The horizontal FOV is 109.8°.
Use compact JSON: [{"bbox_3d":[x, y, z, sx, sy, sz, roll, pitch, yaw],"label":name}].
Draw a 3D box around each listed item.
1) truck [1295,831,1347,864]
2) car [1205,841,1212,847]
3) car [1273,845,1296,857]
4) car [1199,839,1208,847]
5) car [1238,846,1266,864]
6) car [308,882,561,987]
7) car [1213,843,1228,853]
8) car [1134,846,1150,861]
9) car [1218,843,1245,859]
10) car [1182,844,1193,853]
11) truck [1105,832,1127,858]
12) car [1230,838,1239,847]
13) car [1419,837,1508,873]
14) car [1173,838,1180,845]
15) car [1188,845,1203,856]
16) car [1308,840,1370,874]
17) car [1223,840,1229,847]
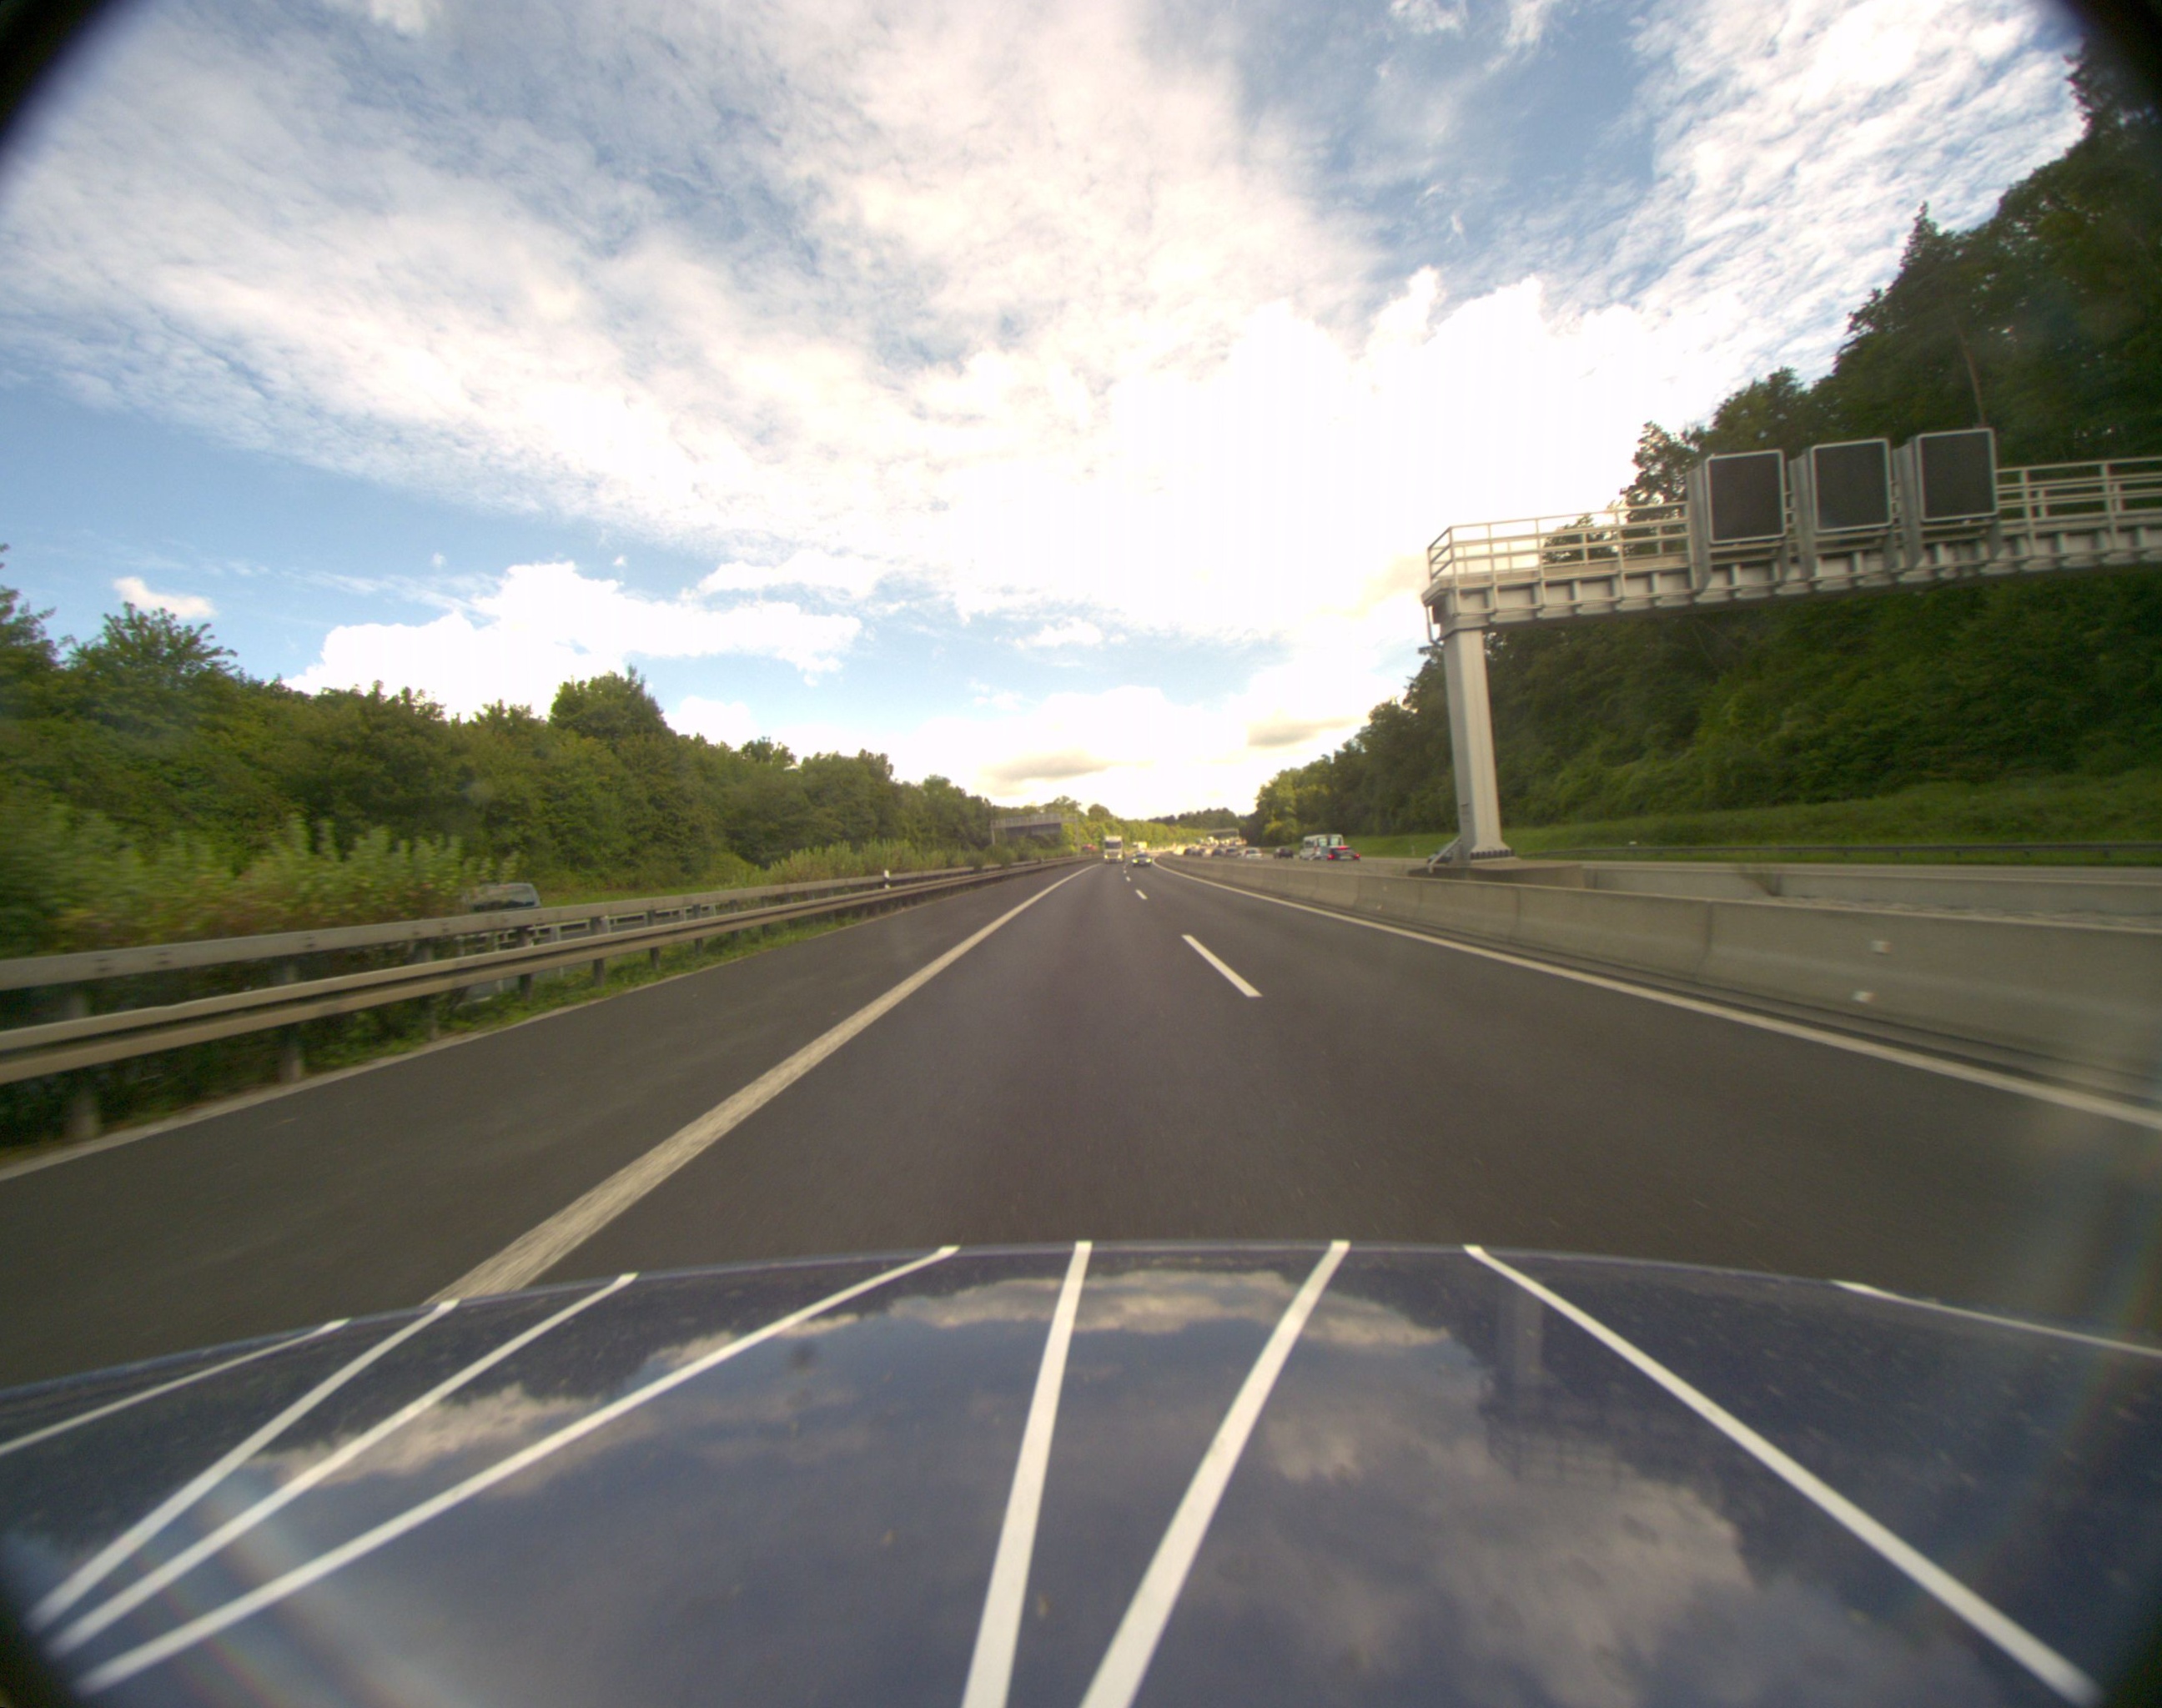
[{"bbox_3d":[17.545,-0.490,55.791,2.189,2.213,5.571,-2,0,3],"label":"truck"},{"bbox_3d":[44.128,-3.446,263.172,2.205,2.118,8.080,-2,1,9],"label":"car"},{"bbox_3d":[24.666,-0.386,92.127,1.827,1.304,4.187,-2,0,2],"label":"car"},{"bbox_3d":[32.557,-2.937,201.625,1.997,2.002,4.779,-2,1,6],"label":"car"},{"bbox_3d":[14.048,0.070,62.727,1.569,1.441,3.889,-2,0,3],"label":"car"},{"bbox_3d":[-15.922,1.868,19.200,1.998,2.002,4.909,-3,1,1],"label":"car"},{"bbox_3d":[24.598,-1.081,134.047,1.998,1.530,4.740,-2,1,5],"label":"car"},{"bbox_3d":[6.532,-0.025,81.100,1.662,1.464,4.001,-2,1,6],"label":"car"},{"bbox_3d":[15.961,-0.352,80.996,1.998,1.527,5.285,-2,0,3],"label":"car"},{"bbox_3d":[20.577,-1.033,146.682,1.880,1.688,4.315,-2,1,5],"label":"car"},{"bbox_3d":[5.379,-1.454,115.293,2.795,3.562,11.459,-2,1,5],"label":"truck"},{"bbox_3d":[40.079,-3.015,198.373,2.029,2.022,4.783,-2,1,7],"label":"car"},{"bbox_3d":[16.639,0.037,33.295,1.670,1.387,4.601,-2,0,2],"label":"car"},{"bbox_3d":[30.512,-4.009,241.770,1.997,2.022,4.002,-2,1,9],"label":"car"},{"bbox_3d":[17.504,-0.550,116.367,1.703,1.530,4.501,-2,1,2],"label":"car"},{"bbox_3d":[13.450,0.121,39.825,1.998,1.631,4.000,-2,0,3],"label":"car"},{"bbox_3d":[50.145,-3.643,263.175,1.997,2.022,4.002,-2,1,9],"label":"car"}]
